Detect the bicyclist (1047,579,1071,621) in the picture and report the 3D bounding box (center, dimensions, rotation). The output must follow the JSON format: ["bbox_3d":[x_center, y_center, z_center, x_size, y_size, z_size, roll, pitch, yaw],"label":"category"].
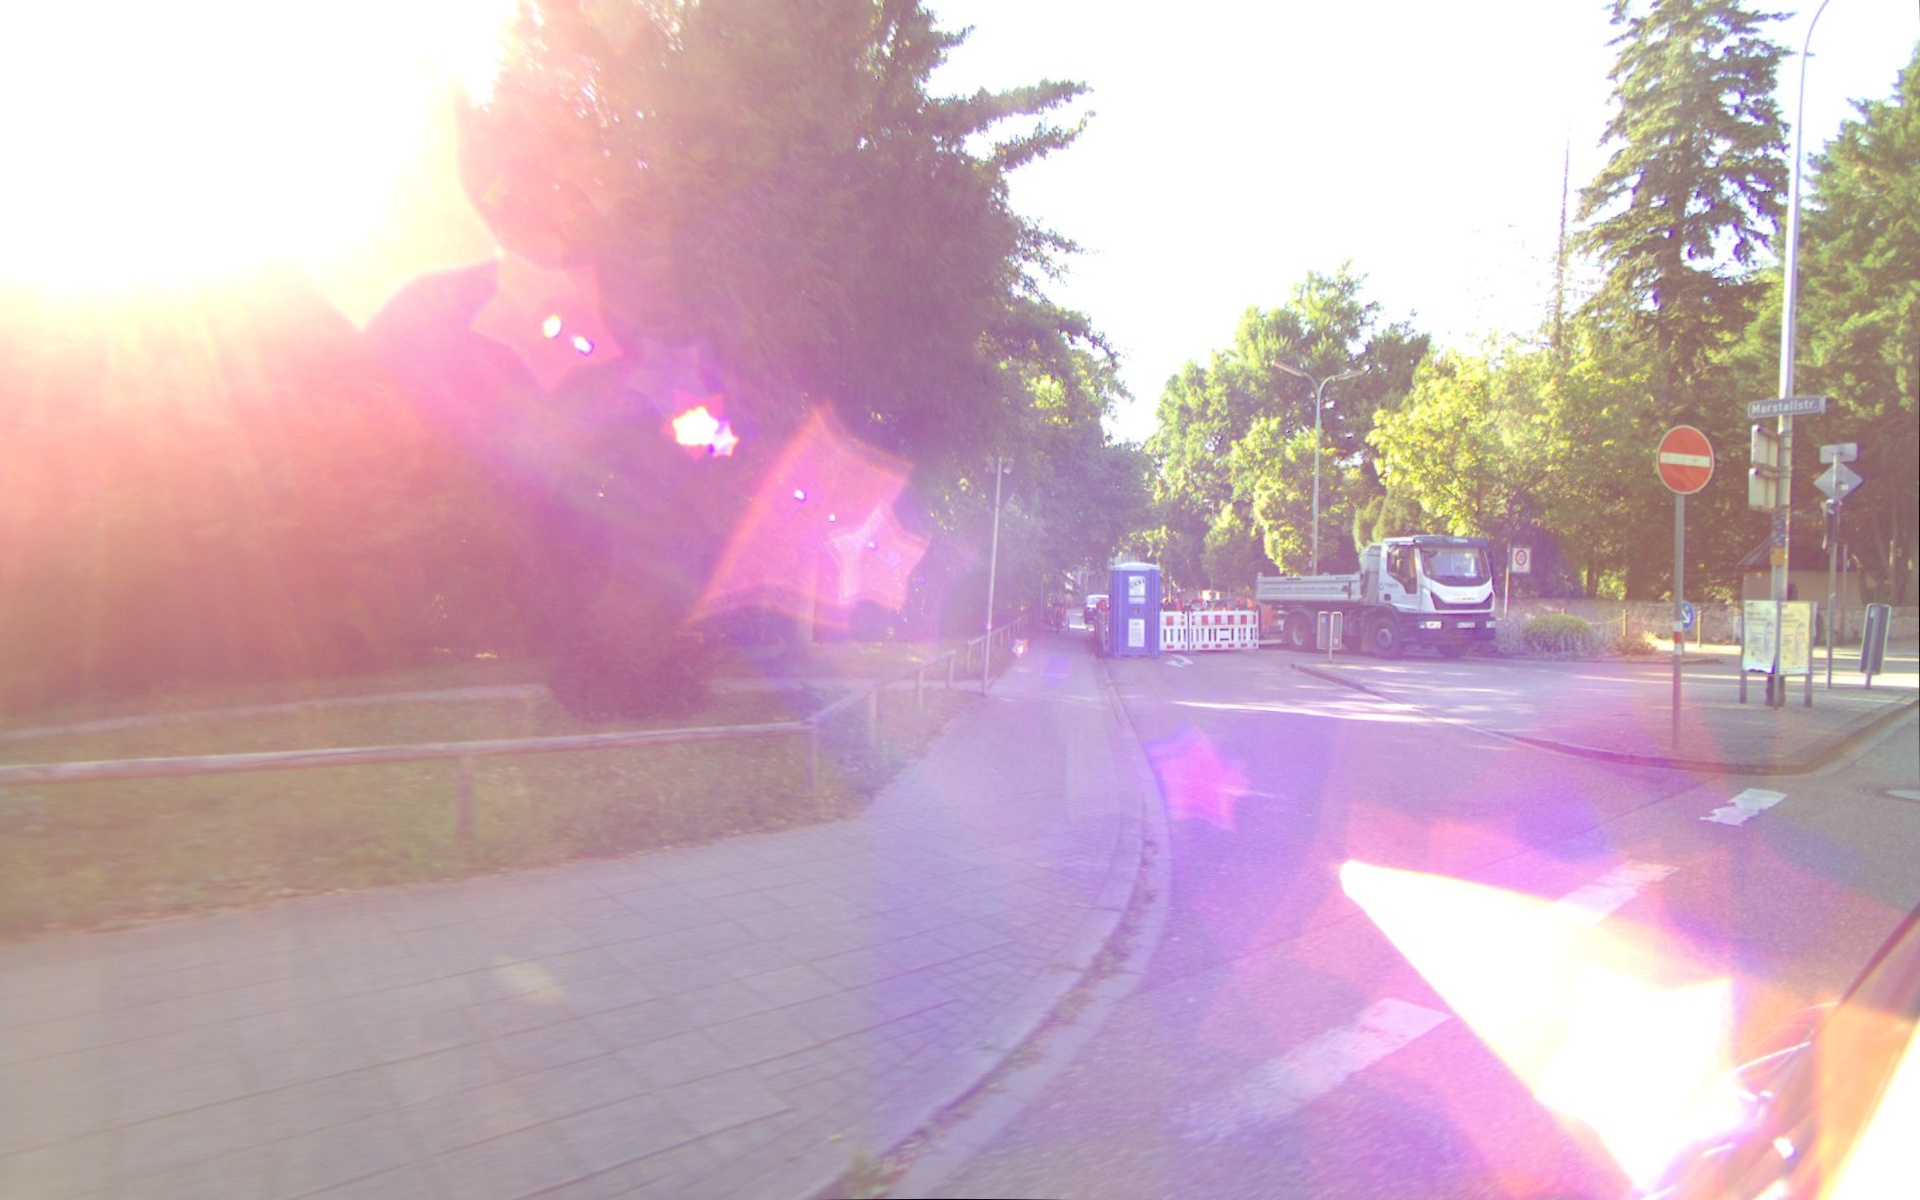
[{"bbox_3d":[3.694,0.000,37.757,0.748,1.503,0.642,4,0,8],"label":"bicyclist"}]

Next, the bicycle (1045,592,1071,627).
[{"bbox_3d":[3.683,0.330,37.897,0.751,1.222,2.835,5,1,8],"label":"bicycle"}]

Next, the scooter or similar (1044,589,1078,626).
[{"bbox_3d":[3.983,0.280,39.876,1.135,1.341,1.179,6,1,8],"label":"scooter or similar"}]

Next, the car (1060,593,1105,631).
[{"bbox_3d":[6.989,0.646,57.974,1.961,2.039,4.001,0,1,-2],"label":"car"}]

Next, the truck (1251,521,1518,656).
[{"bbox_3d":[10.309,-0.255,25.460,2.382,2.931,6.622,0,0,-19],"label":"truck"}]
